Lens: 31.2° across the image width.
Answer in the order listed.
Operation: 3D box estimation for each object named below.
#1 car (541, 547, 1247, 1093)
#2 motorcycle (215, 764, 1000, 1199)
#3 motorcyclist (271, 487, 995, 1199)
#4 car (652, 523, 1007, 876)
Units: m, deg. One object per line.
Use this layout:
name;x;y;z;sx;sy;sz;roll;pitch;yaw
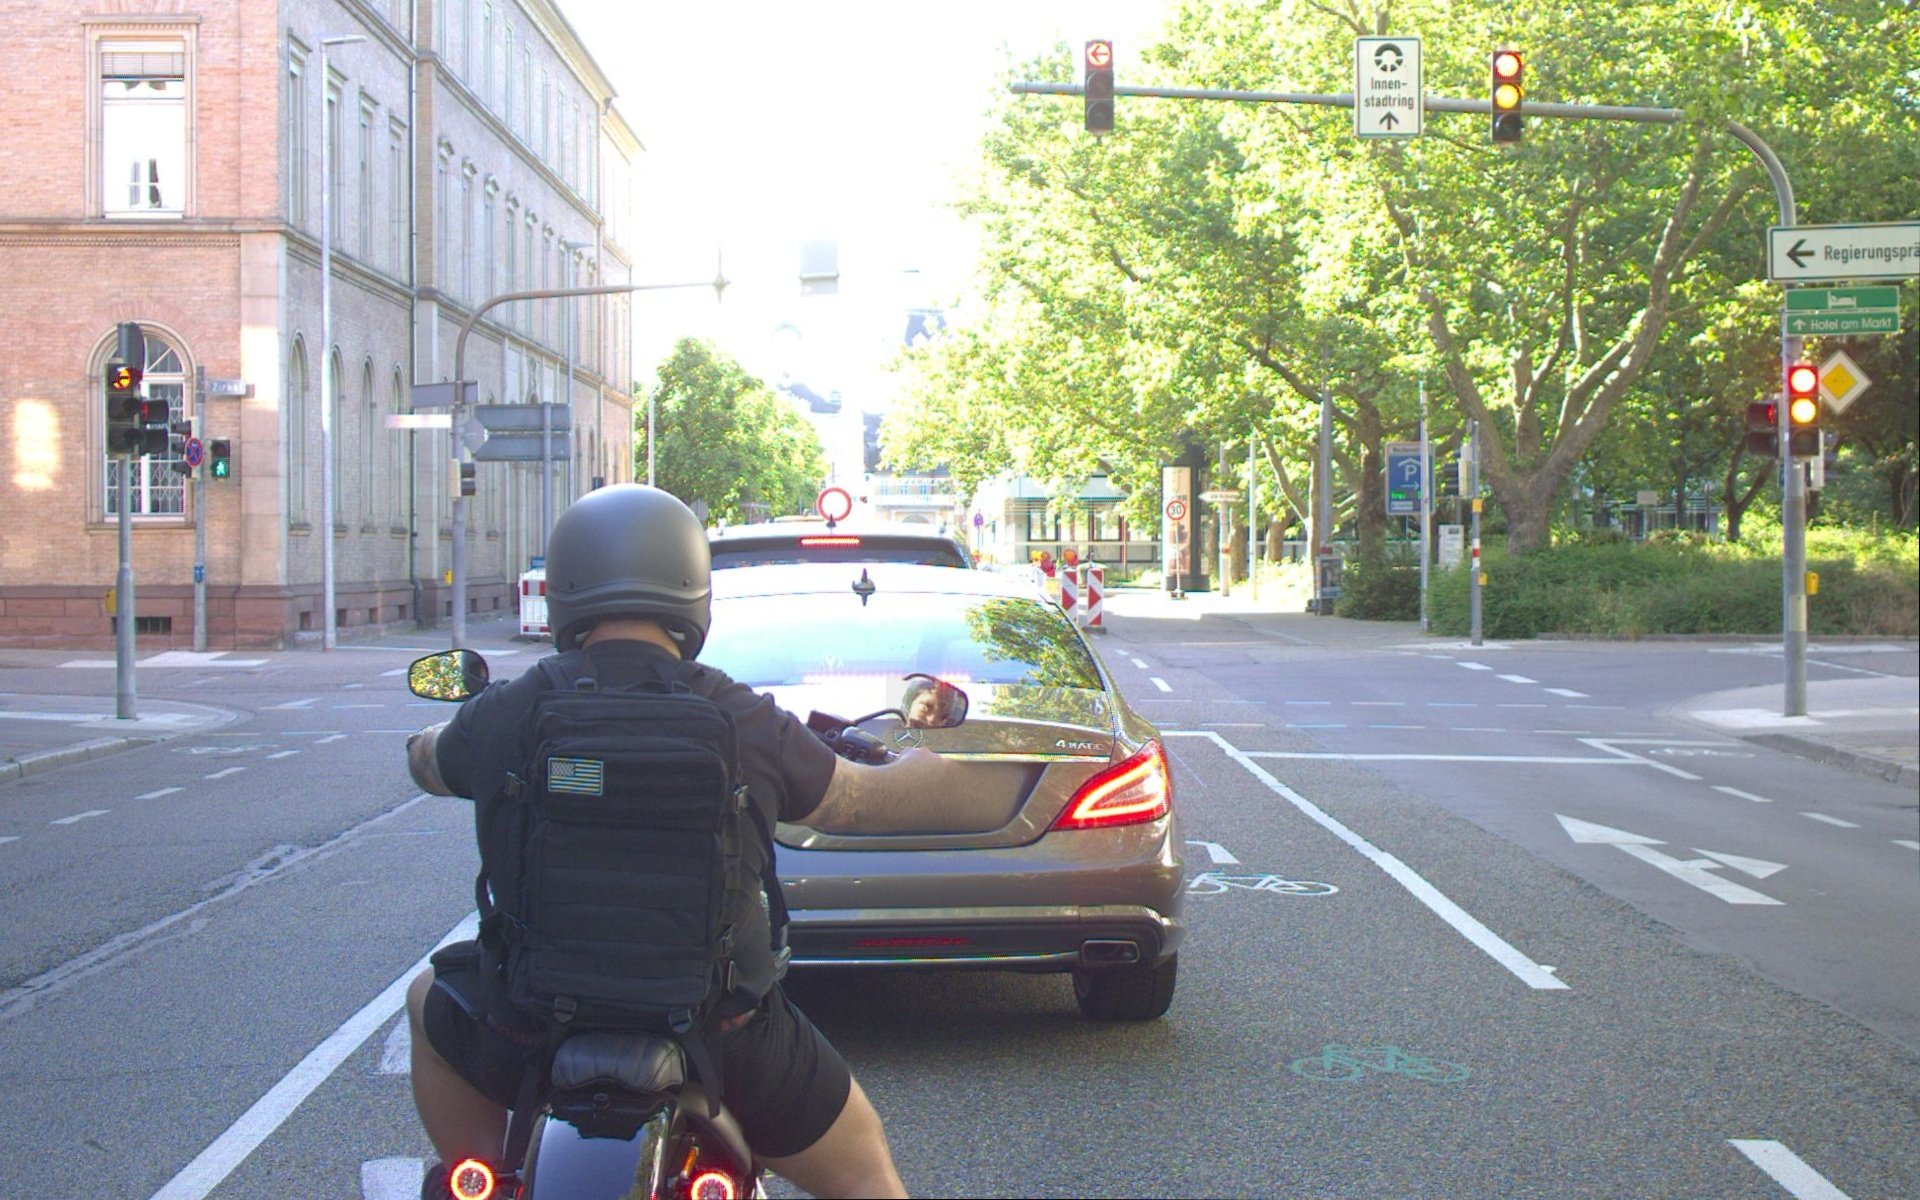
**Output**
car;-0.434;0.561;11.608;1.945;1.468;4.363;0;1;-7
motorcycle;-0.458;0.884;5.572;0.989;1.075;2.452;0;1;-1
motorcyclist;-0.454;0.628;5.413;0.989;1.591;1.404;0;1;-1
car;-0.640;0.411;17.773;1.612;1.602;4.329;0;1;-1
